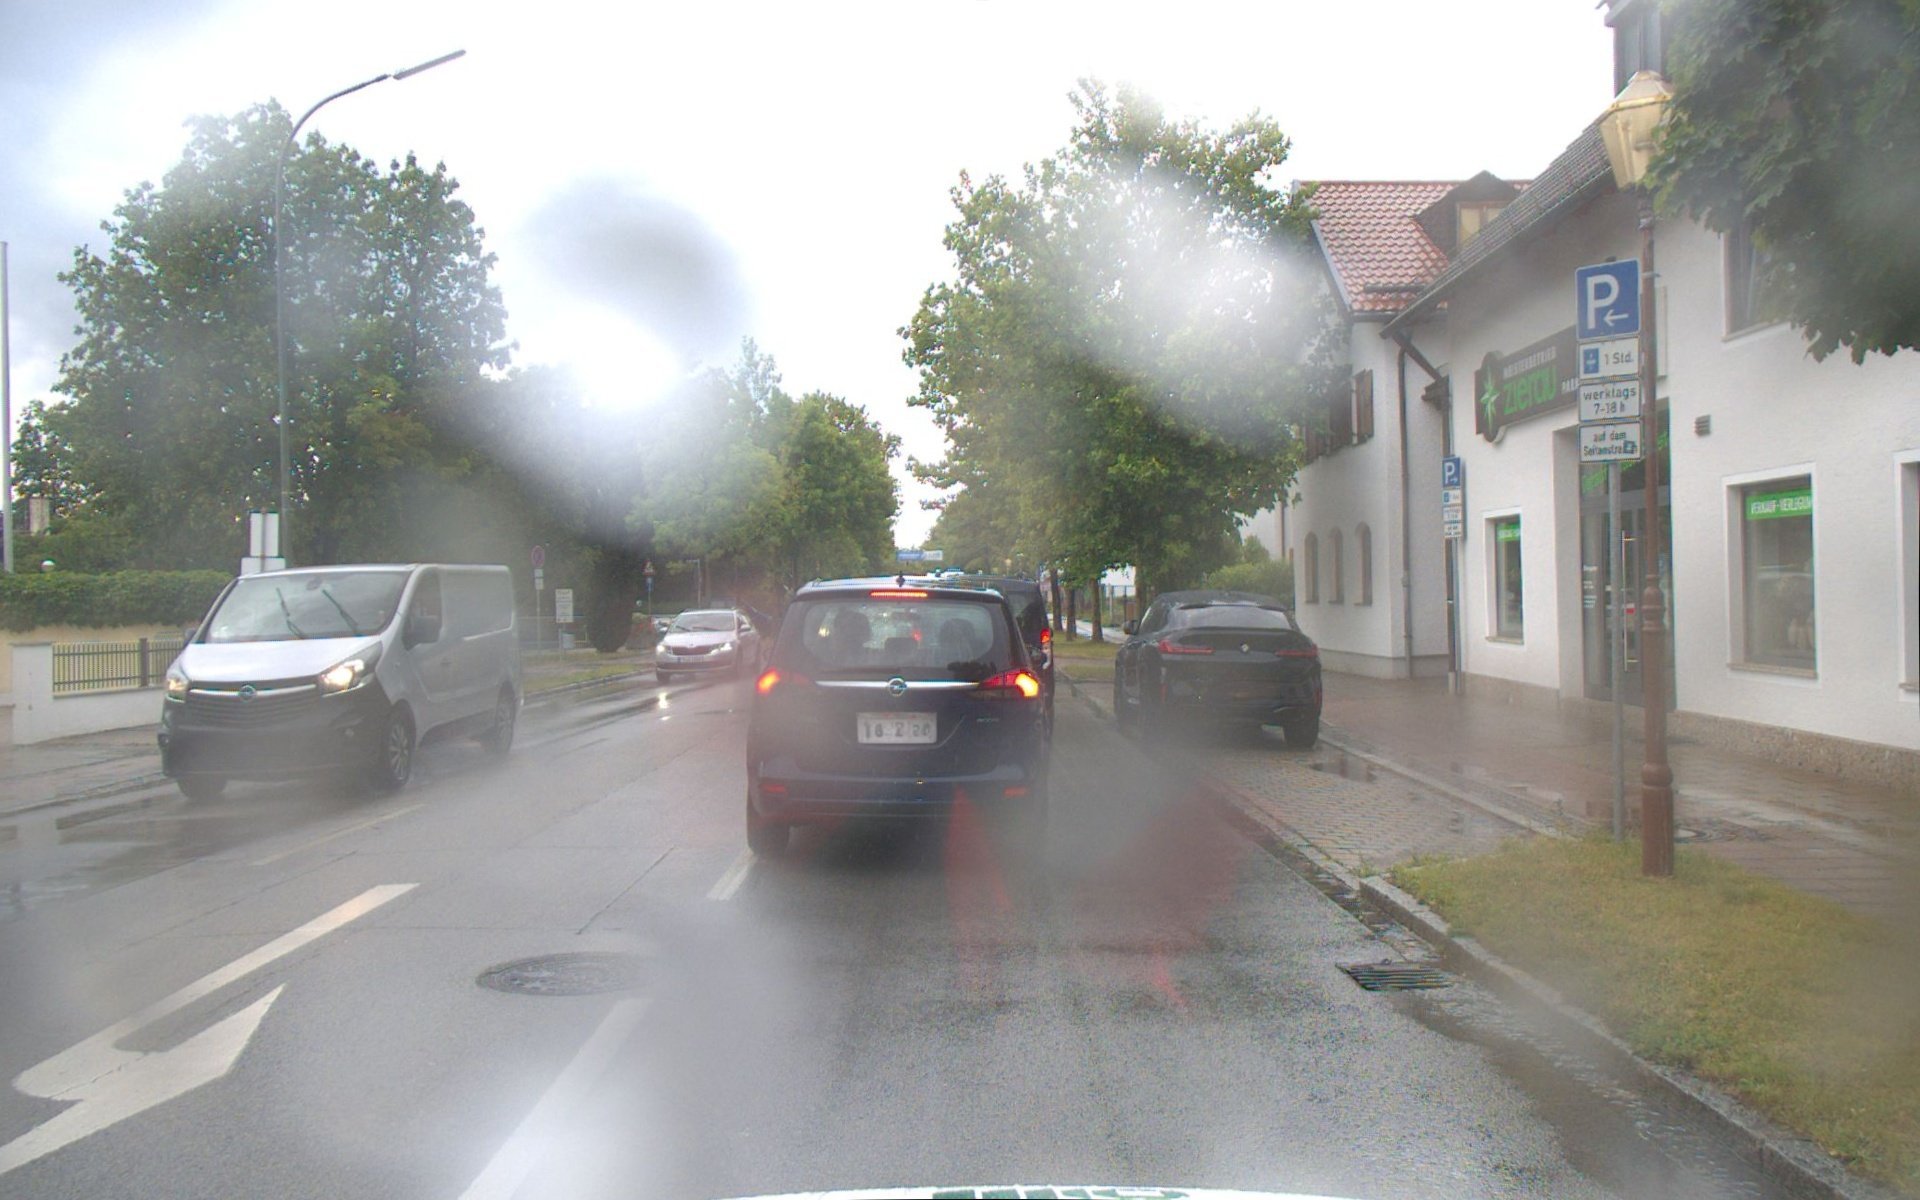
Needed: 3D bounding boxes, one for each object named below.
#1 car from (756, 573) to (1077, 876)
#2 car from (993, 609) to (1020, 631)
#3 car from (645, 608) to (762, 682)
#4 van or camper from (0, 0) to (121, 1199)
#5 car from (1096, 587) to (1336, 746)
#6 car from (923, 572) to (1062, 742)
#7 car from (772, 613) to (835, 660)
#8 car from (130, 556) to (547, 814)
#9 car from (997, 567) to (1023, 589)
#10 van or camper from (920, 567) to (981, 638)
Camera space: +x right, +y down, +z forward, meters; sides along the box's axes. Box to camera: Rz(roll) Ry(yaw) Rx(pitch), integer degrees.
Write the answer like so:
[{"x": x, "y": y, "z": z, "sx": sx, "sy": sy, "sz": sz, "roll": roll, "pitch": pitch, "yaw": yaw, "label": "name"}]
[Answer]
[{"x": -0.244, "y": 0.681, "z": 10.812, "sx": 1.732, "sy": 1.633, "sz": 3.663, "roll": 0, "pitch": 0, "yaw": 0, "label": "car"}, {"x": 3.009, "y": 1.302, "z": 107.375, "sx": 1.597, "sy": 1.402, "sz": 3.622, "roll": 0, "pitch": -1, "yaw": -1, "label": "car"}, {"x": -5.422, "y": 0.916, "z": 35.435, "sx": 1.742, "sy": 1.399, "sz": 4.184, "roll": -3, "pitch": 0, "yaw": 1, "label": "car"}, {"x": -2.895, "y": 0.102, "z": 0.405, "sx": 2.051, "sy": 2.754, "sz": 6.269, "roll": -1, "pitch": 0, "yaw": 1, "label": "van or camper"}, {"x": 2.773, "y": 0.693, "z": 18.835, "sx": 2.074, "sy": 1.609, "sz": 3.934, "roll": 0, "pitch": -1, "yaw": -1, "label": "car"}, {"x": 0.340, "y": 0.608, "z": 19.082, "sx": 1.469, "sy": 1.807, "sz": 3.111, "roll": 0, "pitch": 0, "yaw": 0, "label": "car"}, {"x": -5.081, "y": 1.159, "z": 54.080, "sx": 1.548, "sy": 1.399, "sz": 4.184, "roll": -3, "pitch": 0, "yaw": 1, "label": "car"}, {"x": -5.537, "y": 0.672, "z": 15.611, "sx": 1.779, "sy": 1.924, "sz": 5.259, "roll": -3, "pitch": 0, "yaw": 1, "label": "car"}, {"x": 3.516, "y": -1.533, "z": 116.877, "sx": 1.597, "sy": 1.402, "sz": 3.622, "roll": -2, "pitch": 0, "yaw": -1, "label": "car"}, {"x": -0.377, "y": 0.094, "z": 67.794, "sx": 2.312, "sy": 2.712, "sz": 5.371, "roll": -2, "pitch": 0, "yaw": 0, "label": "van or camper"}]
